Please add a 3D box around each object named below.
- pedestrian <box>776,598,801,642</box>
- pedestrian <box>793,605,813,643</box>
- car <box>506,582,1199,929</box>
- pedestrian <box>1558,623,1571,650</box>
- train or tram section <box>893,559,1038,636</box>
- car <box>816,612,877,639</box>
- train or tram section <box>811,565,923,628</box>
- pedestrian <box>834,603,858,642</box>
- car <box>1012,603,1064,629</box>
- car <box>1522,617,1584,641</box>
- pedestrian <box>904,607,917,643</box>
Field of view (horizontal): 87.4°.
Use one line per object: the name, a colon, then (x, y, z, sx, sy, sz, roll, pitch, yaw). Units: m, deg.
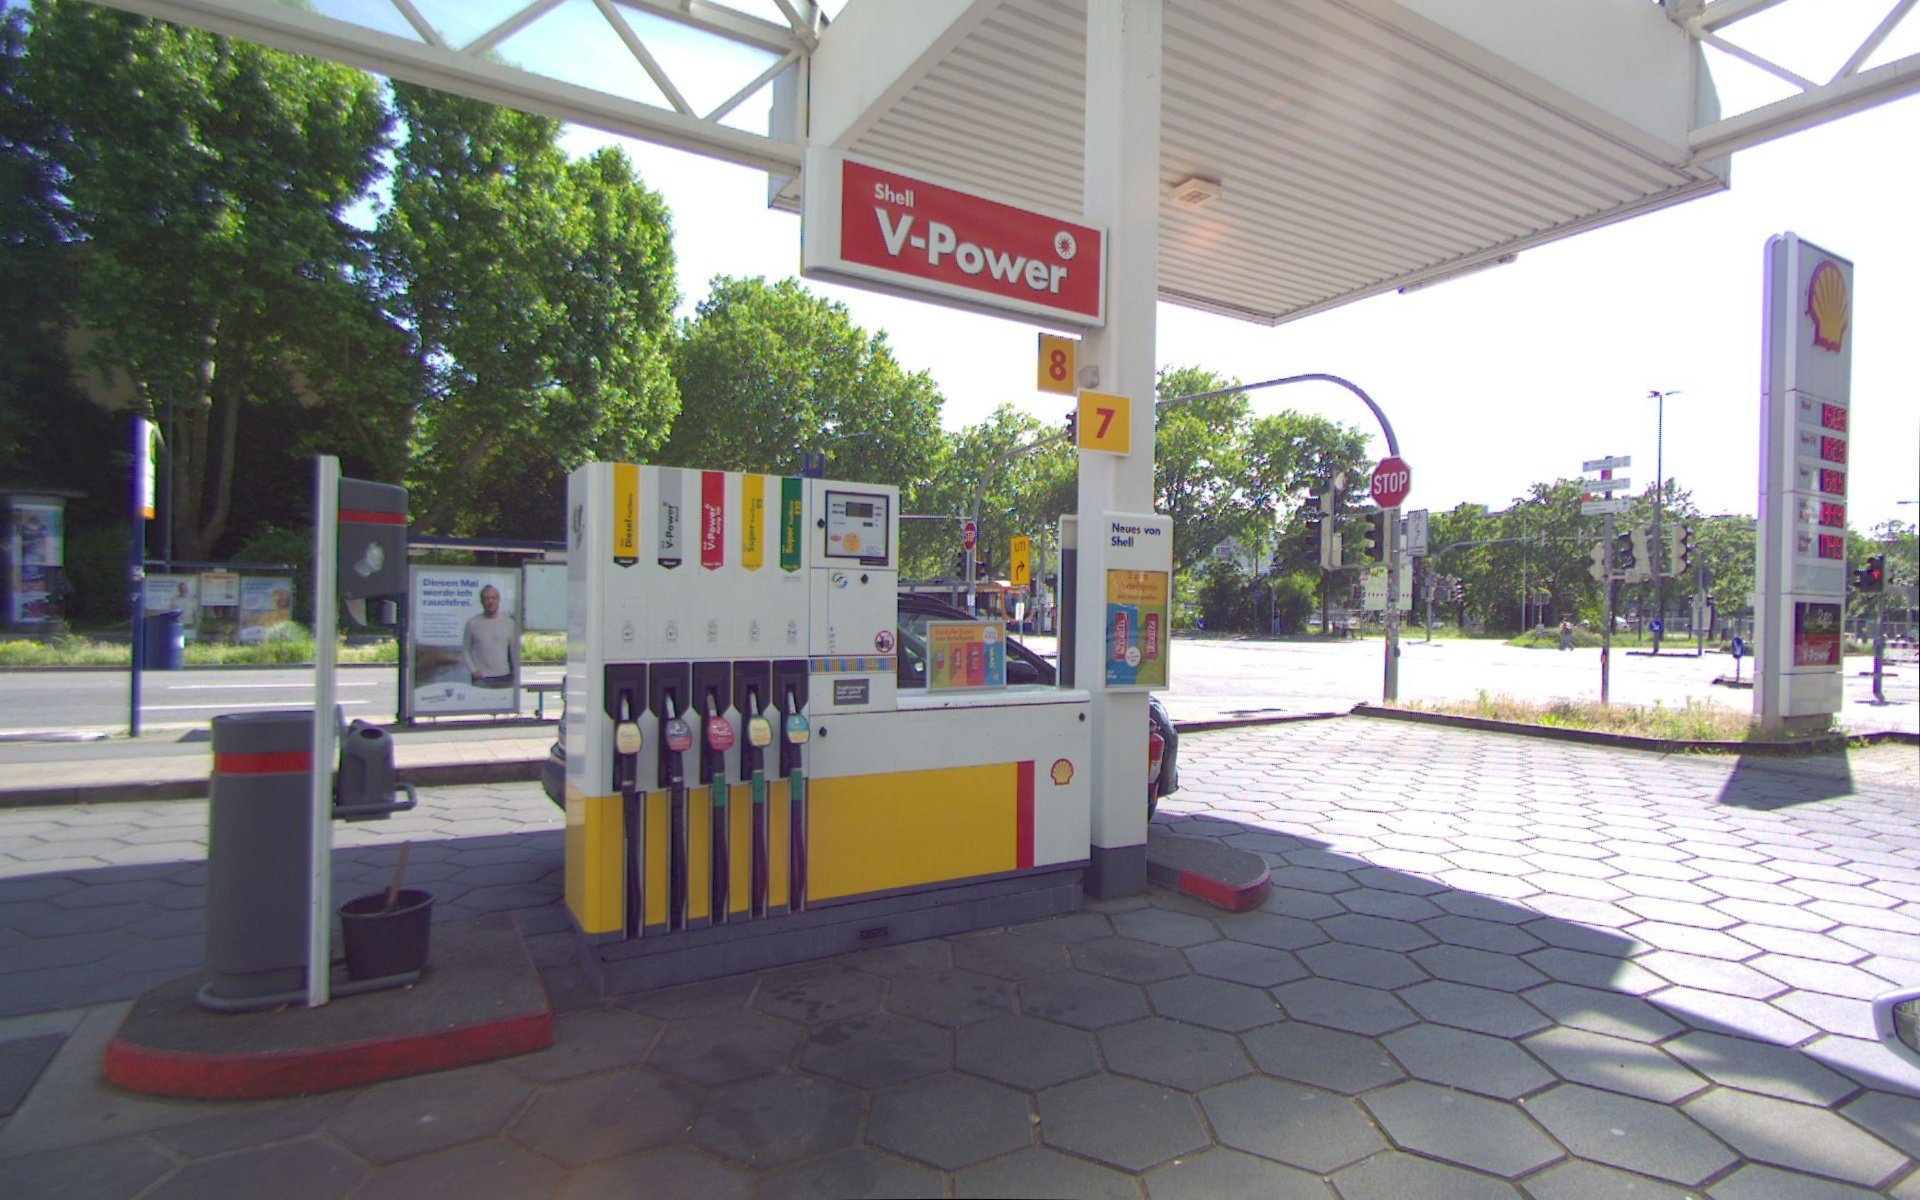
pedestrian: (-7.428, 0.876, 43.413, 0.760, 1.881, 0.721, -1, -2, 36)
pedestrian: (-7.202, 1.108, 45.967, 0.774, 1.696, 0.558, 1, -2, -22)
car: (-0.569, 0.771, 6.292, 3.955, 1.552, 1.735, 2, -2, -31)
pedestrian: (33.521, 2.010, 55.729, 0.556, 1.488, 0.512, 1, 0, 35)
train or tram section: (-0.046, -0.131, 66.812, 2.301, 4.549, 14.822, 2, -1, -30)
car: (-6.709, 1.525, 58.969, 1.851, 1.532, 3.960, 2, -3, -36)
train or tram section: (-7.730, -0.256, 80.013, 2.301, 4.549, 15.795, 2, -1, -30)
pedestrian: (-5.227, 1.050, 46.071, 0.678, 1.746, 0.865, -1, -3, 45)
car: (6.262, 1.332, 80.996, 1.978, 2.040, 4.409, 2, -3, -32)
car: (48.797, 2.408, 82.753, 1.974, 1.839, 3.975, 2, -2, -26)
pedestrian: (-2.822, 1.435, 57.257, 0.691, 2.013, 0.741, 1, -2, 0)
